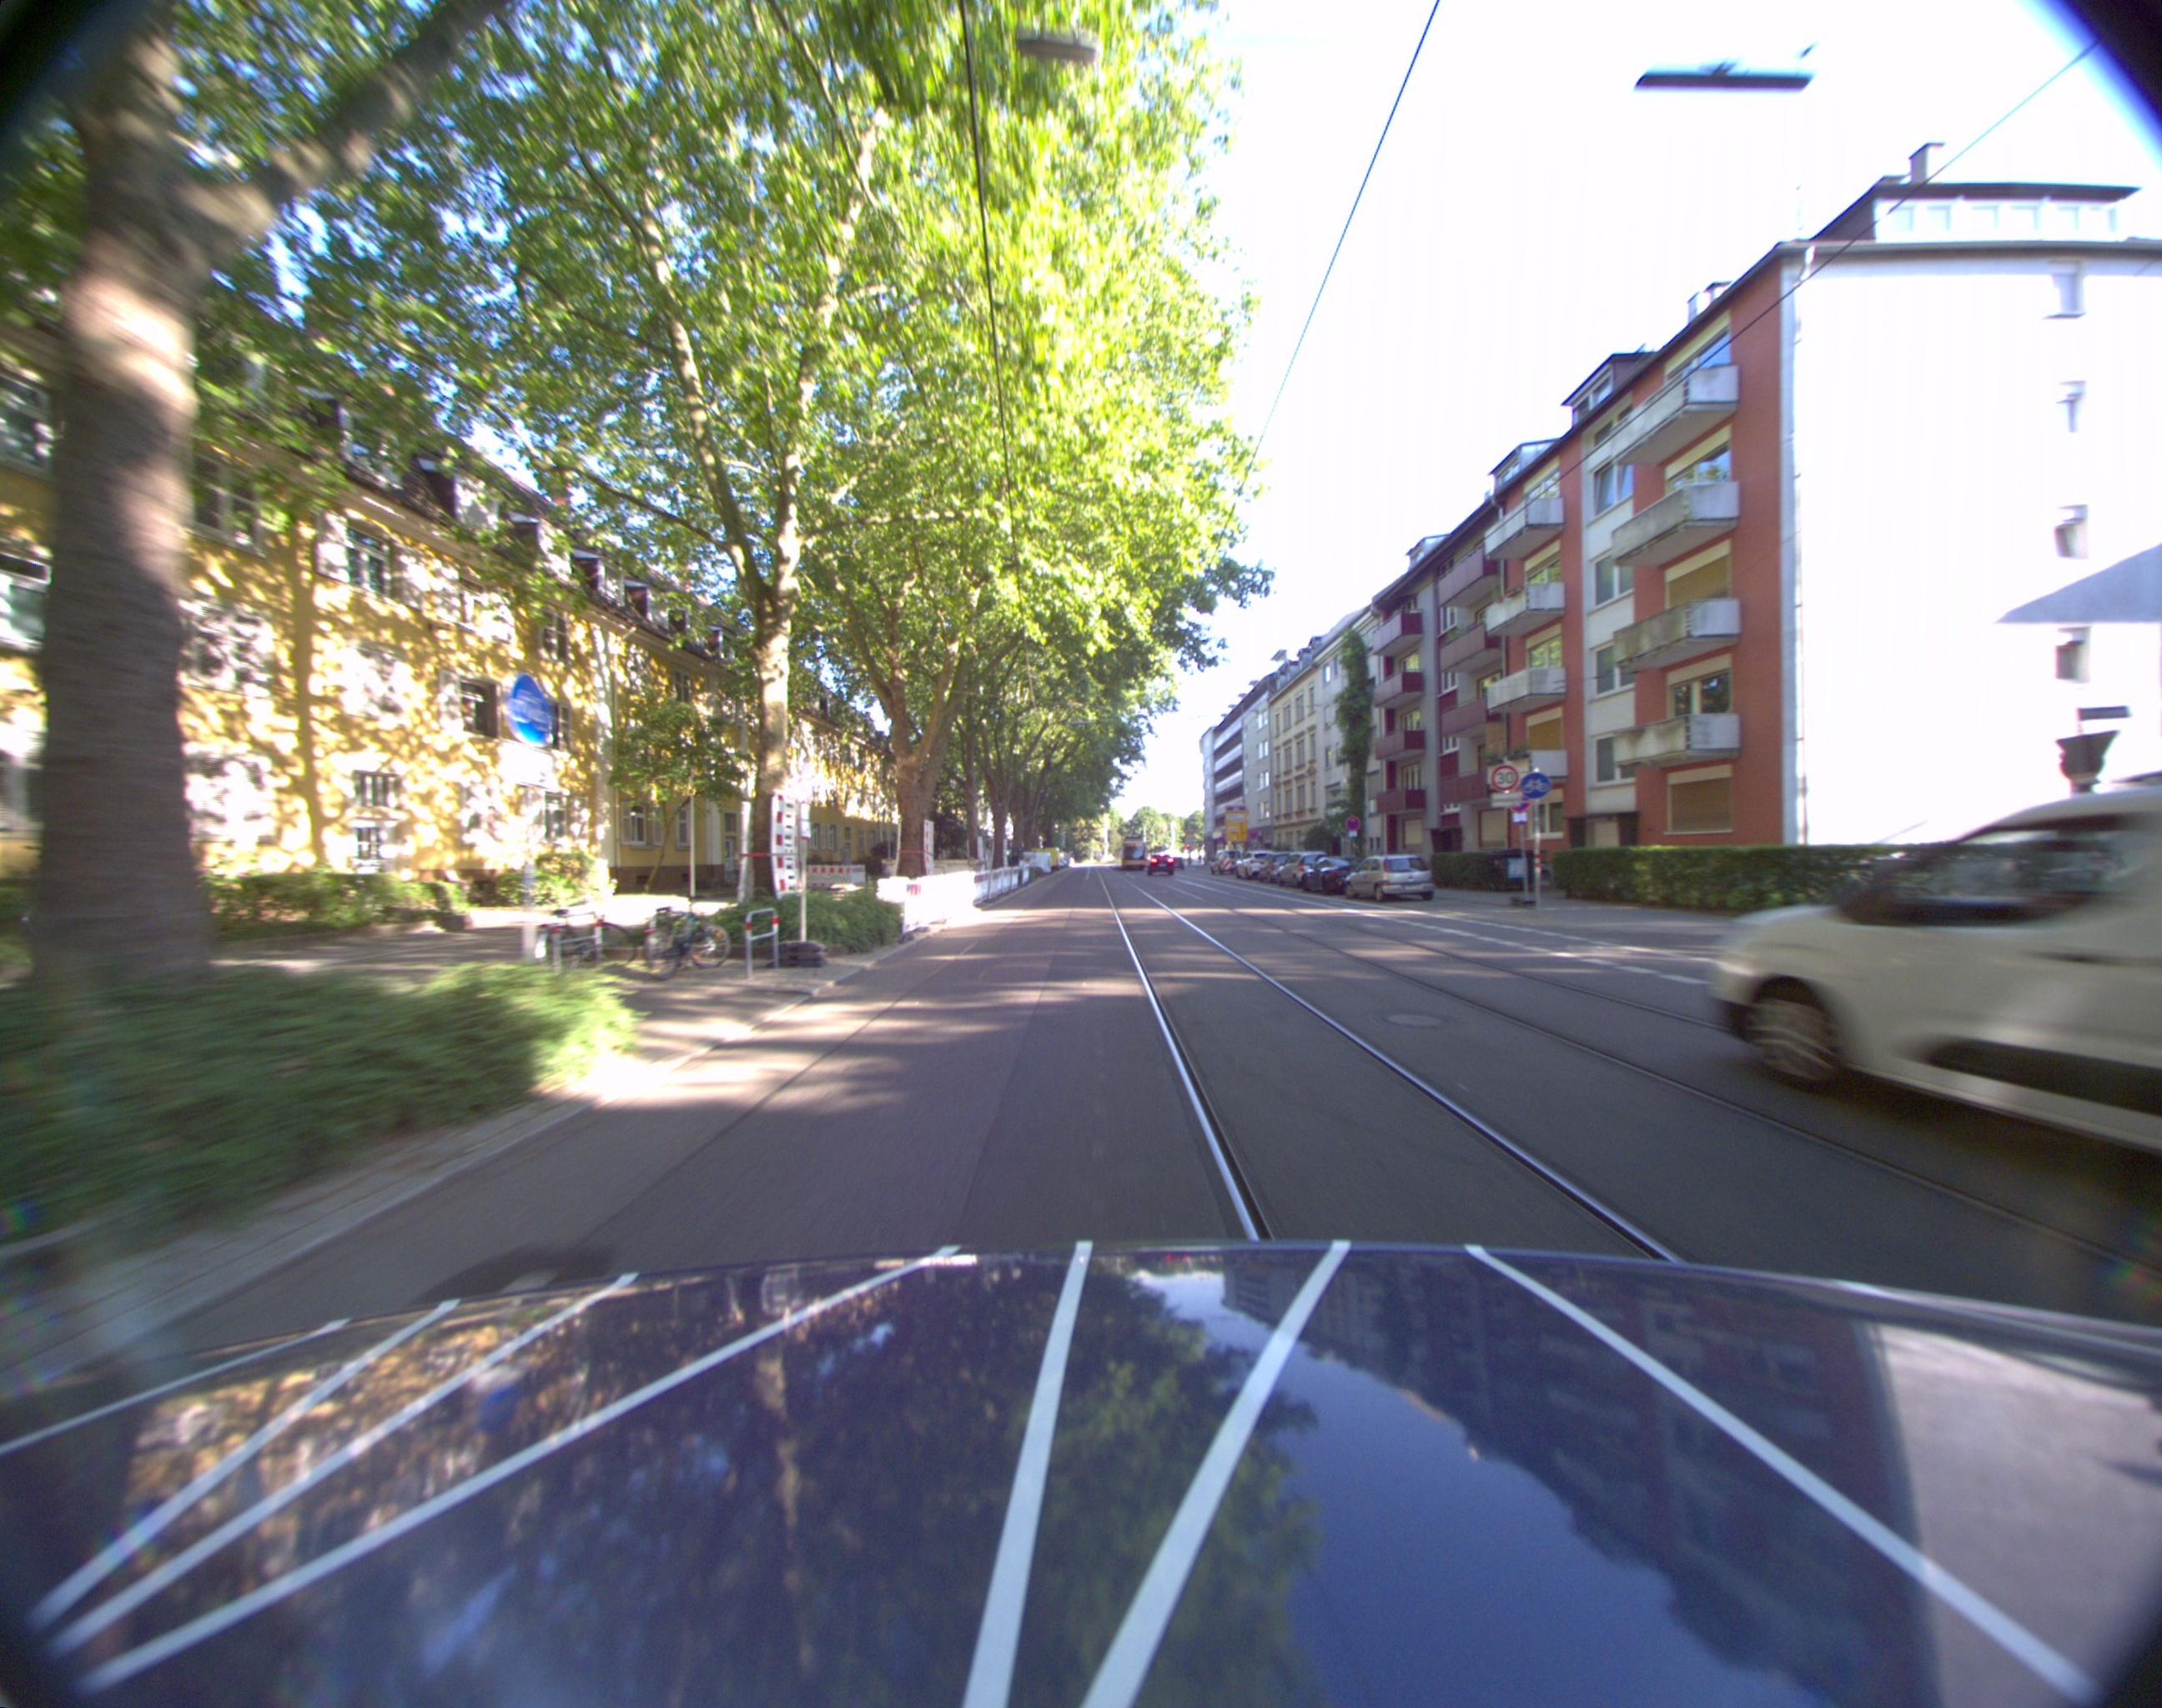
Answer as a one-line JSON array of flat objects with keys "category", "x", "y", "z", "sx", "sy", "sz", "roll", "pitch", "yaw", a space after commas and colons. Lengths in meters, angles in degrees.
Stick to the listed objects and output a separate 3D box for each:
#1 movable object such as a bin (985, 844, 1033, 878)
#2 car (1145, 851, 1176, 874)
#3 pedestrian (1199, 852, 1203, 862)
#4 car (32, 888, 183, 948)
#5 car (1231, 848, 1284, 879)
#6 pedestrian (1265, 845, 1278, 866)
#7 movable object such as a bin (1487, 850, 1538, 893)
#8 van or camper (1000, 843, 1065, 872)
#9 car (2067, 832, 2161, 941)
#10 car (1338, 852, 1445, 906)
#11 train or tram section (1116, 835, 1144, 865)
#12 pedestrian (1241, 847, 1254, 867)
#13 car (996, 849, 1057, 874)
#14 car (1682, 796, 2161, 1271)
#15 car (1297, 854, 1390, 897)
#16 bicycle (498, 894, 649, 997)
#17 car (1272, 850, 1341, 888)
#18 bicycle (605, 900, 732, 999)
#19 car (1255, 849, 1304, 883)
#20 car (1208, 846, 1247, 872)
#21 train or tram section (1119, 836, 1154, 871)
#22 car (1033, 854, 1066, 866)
[{"category": "movable object such as a bin", "x": -4.966, "y": 0.441, "z": 52.376, "sx": 1.482, "sy": 2.256, "sz": 3.283, "roll": -1, "pitch": 0, "yaw": 34}, {"category": "car", "x": 6.030, "y": 0.596, "z": 58.087, "sx": 1.858, "sy": 1.591, "sz": 4.463, "roll": -2, "pitch": 1, "yaw": 0}, {"category": "pedestrian", "x": 19.593, "y": 0.467, "z": 123.913, "sx": 0.716, "sy": 1.664, "sz": 0.905, "roll": -1, "pitch": 1, "yaw": 9}, {"category": "car", "x": -16.423, "y": 1.059, "z": 12.880, "sx": 0.446, "sy": 0.847, "sz": 1.574, "roll": -3, "pitch": 0, "yaw": 2}, {"category": "car", "x": 10.348, "y": 0.497, "z": 44.863, "sx": 1.957, "sy": 1.639, "sz": 4.881, "roll": -3, "pitch": 1, "yaw": 0}, {"category": "pedestrian", "x": 16.946, "y": 0.147, "z": 67.611, "sx": 0.965, "sy": 1.803, "sz": 0.729, "roll": -3, "pitch": 1, "yaw": 2}, {"category": "movable object such as a bin", "x": 13.804, "y": 0.546, "z": 24.320, "sx": 1.214, "sy": 1.357, "sz": 0.747, "roll": -1, "pitch": 1, "yaw": 2}, {"category": "van or camper", "x": -4.573, "y": 0.339, "z": 72.125, "sx": 5.939, "sy": 2.614, "sz": 2.270, "roll": -1, "pitch": 1, "yaw": 3}, {"category": "car", "x": 18.443, "y": 0.457, "z": 11.445, "sx": 4.544, "sy": 1.597, "sz": 1.937, "roll": -1, "pitch": 2, "yaw": 1}, {"category": "car", "x": 9.693, "y": 0.713, "z": 24.054, "sx": 1.729, "sy": 1.474, "sz": 3.930, "roll": -3, "pitch": 0, "yaw": 0}, {"category": "train or tram section", "x": 6.081, "y": -0.488, "z": 96.416, "sx": 2.916, "sy": 3.465, "sz": 13.369, "roll": -1, "pitch": 0, "yaw": 1}, {"category": "pedestrian", "x": 15.063, "y": 0.260, "z": 68.757, "sx": 0.866, "sy": 1.774, "sz": 0.736, "roll": -3, "pitch": 1, "yaw": 0}, {"category": "car", "x": -4.464, "y": 0.598, "z": 62.538, "sx": 4.847, "sy": 2.001, "sz": 2.063, "roll": -1, "pitch": 0, "yaw": 1}, {"category": "car", "x": 5.078, "y": 0.672, "z": 2.794, "sx": 1.896, "sy": 1.821, "sz": 4.895, "roll": -1, "pitch": 0, "yaw": 1}, {"category": "car", "x": 9.982, "y": 0.773, "z": 29.335, "sx": 1.957, "sy": 1.387, "sz": 4.863, "roll": -4, "pitch": 0, "yaw": 2}, {"category": "bicycle", "x": -6.796, "y": 1.182, "z": 10.321, "sx": 0.692, "sy": 1.147, "sz": 1.948, "roll": -1, "pitch": 0, "yaw": 1}, {"category": "car", "x": 10.184, "y": 0.626, "z": 34.557, "sx": 1.824, "sy": 1.577, "sz": 4.005, "roll": -2, "pitch": 0, "yaw": -1}, {"category": "bicycle", "x": -5.388, "y": 1.205, "z": 10.068, "sx": 0.637, "sy": 1.064, "sz": 1.809, "roll": -1, "pitch": 0, "yaw": 1}, {"category": "car", "x": 10.265, "y": 0.580, "z": 39.475, "sx": 1.630, "sy": 1.563, "sz": 3.781, "roll": -3, "pitch": 1, "yaw": 2}, {"category": "car", "x": 10.727, "y": 0.356, "z": 55.779, "sx": 1.793, "sy": 1.760, "sz": 4.470, "roll": -3, "pitch": 0, "yaw": -2}, {"category": "train or tram section", "x": 5.865, "y": -0.075, "z": 82.585, "sx": 2.916, "sy": 3.465, "sz": 14.198, "roll": -1, "pitch": 0, "yaw": 1}, {"category": "car", "x": -4.201, "y": 0.802, "z": 102.769, "sx": 4.436, "sy": 1.648, "sz": 1.908, "roll": 0, "pitch": 1, "yaw": -1}]
